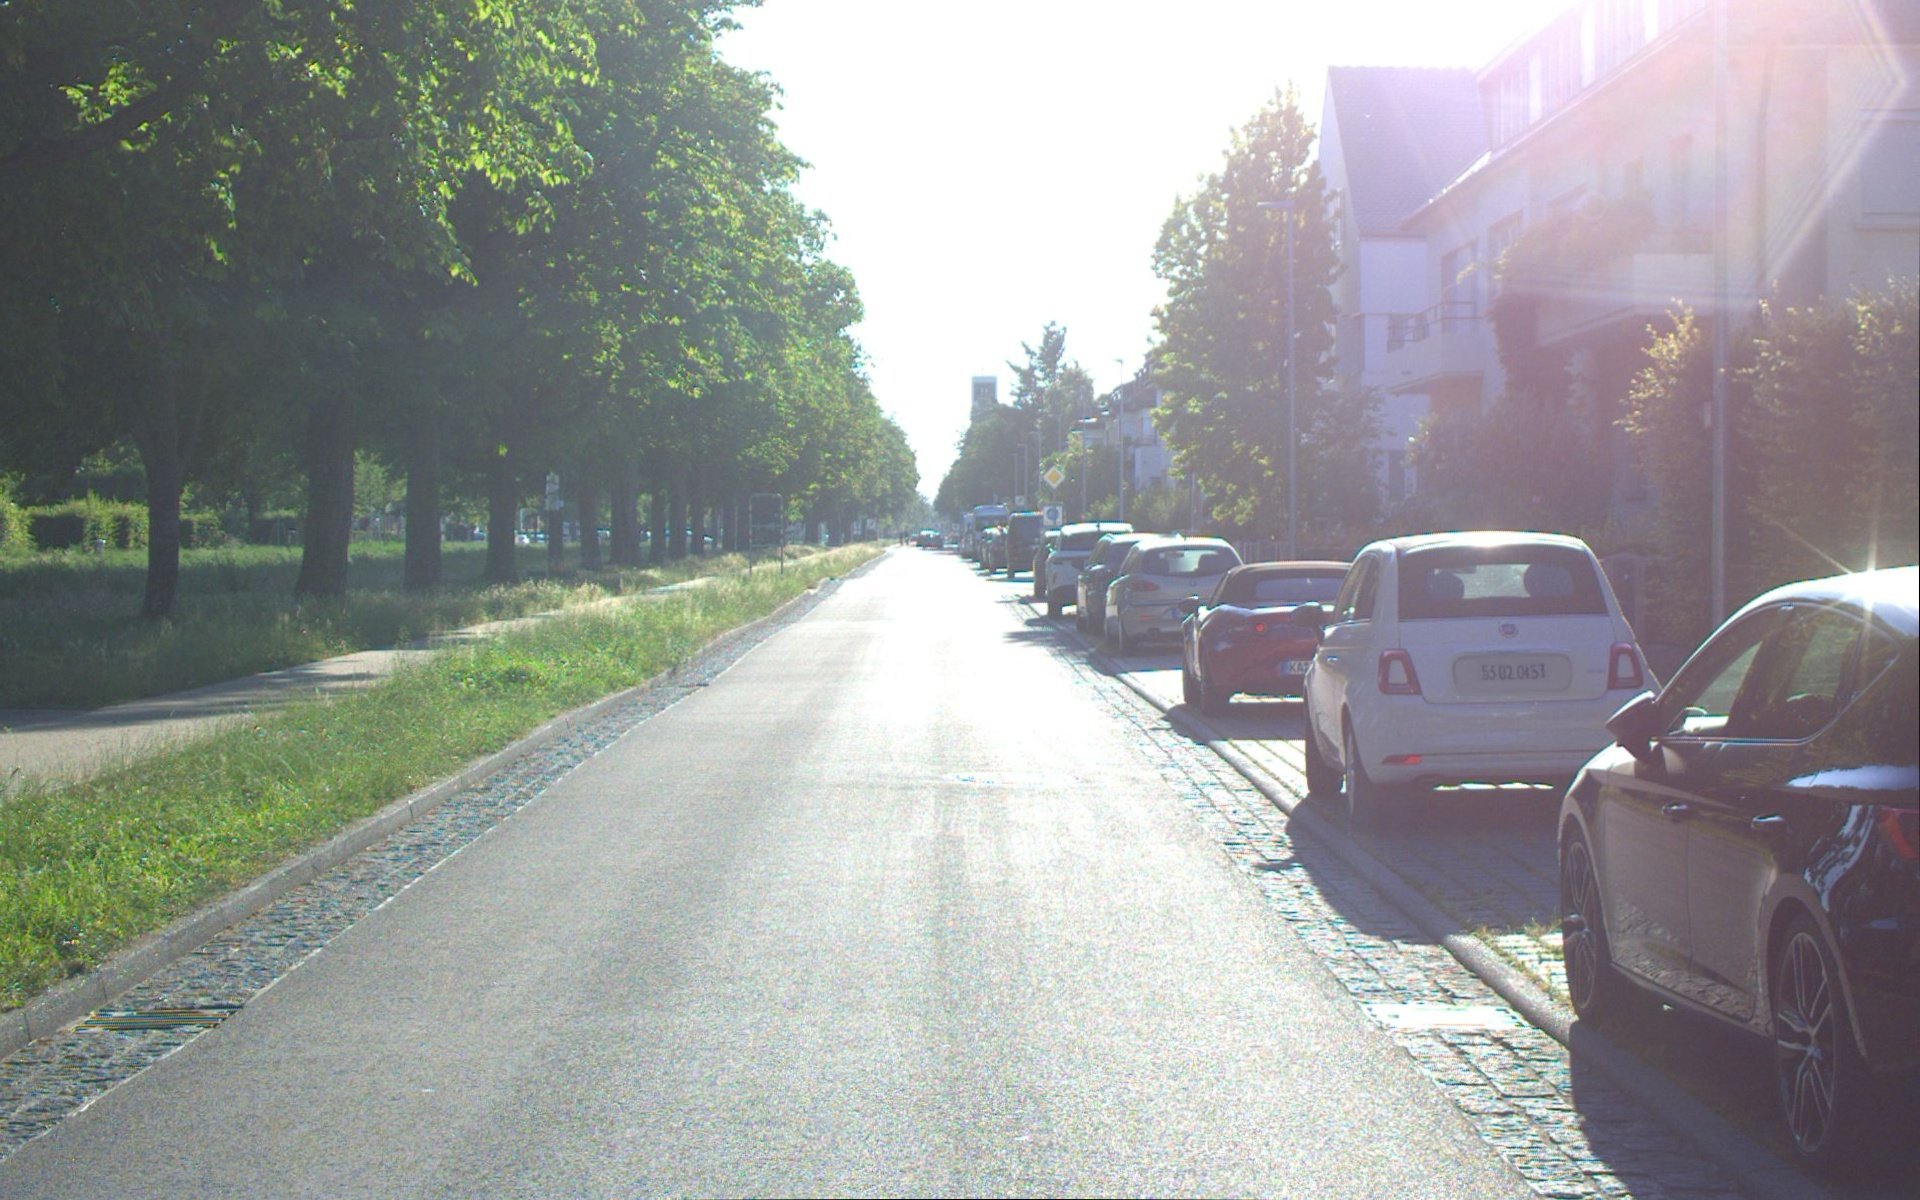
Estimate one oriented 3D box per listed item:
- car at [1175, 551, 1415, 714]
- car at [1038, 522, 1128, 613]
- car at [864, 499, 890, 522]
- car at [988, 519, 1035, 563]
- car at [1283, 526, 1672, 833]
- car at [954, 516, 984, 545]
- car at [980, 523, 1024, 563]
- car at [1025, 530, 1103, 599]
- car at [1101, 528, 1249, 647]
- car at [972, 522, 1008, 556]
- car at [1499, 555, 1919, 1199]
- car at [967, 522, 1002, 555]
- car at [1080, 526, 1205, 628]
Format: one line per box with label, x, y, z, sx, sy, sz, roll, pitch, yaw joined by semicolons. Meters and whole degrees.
car;2.740;0.230;28.751;1.693;1.244;3.497;0;1;1
car;2.162;-0.601;60.918;1.498;1.561;3.267;0;1;1
car;-5.634;-6.049;232.875;1.652;1.536;3.267;1;1;0
car;1.840;-2.116;122.918;1.652;1.536;3.267;1;1;1
car;2.725;0.356;18.788;1.592;1.504;3.592;0;1;0
car;0.487;-3.884;191.937;1.652;1.536;3.267;1;1;0
car;1.651;-2.239;135.141;1.652;1.536;3.267;1;1;1
car;2.217;-0.773;73.959;1.594;1.429;3.267;0;1;1
car;2.611;-0.183;42.328;1.652;1.391;3.267;0;1;1
car;1.437;-2.872;161.701;1.652;1.536;3.267;1;1;1
car;2.753;0.616;9.451;1.736;1.444;4.197;-2;1;-2
car;1.214;-2.993;167.052;1.652;1.536;3.267;1;1;1
car;2.593;-0.354;49.412;1.652;1.391;3.267;0;1;1
